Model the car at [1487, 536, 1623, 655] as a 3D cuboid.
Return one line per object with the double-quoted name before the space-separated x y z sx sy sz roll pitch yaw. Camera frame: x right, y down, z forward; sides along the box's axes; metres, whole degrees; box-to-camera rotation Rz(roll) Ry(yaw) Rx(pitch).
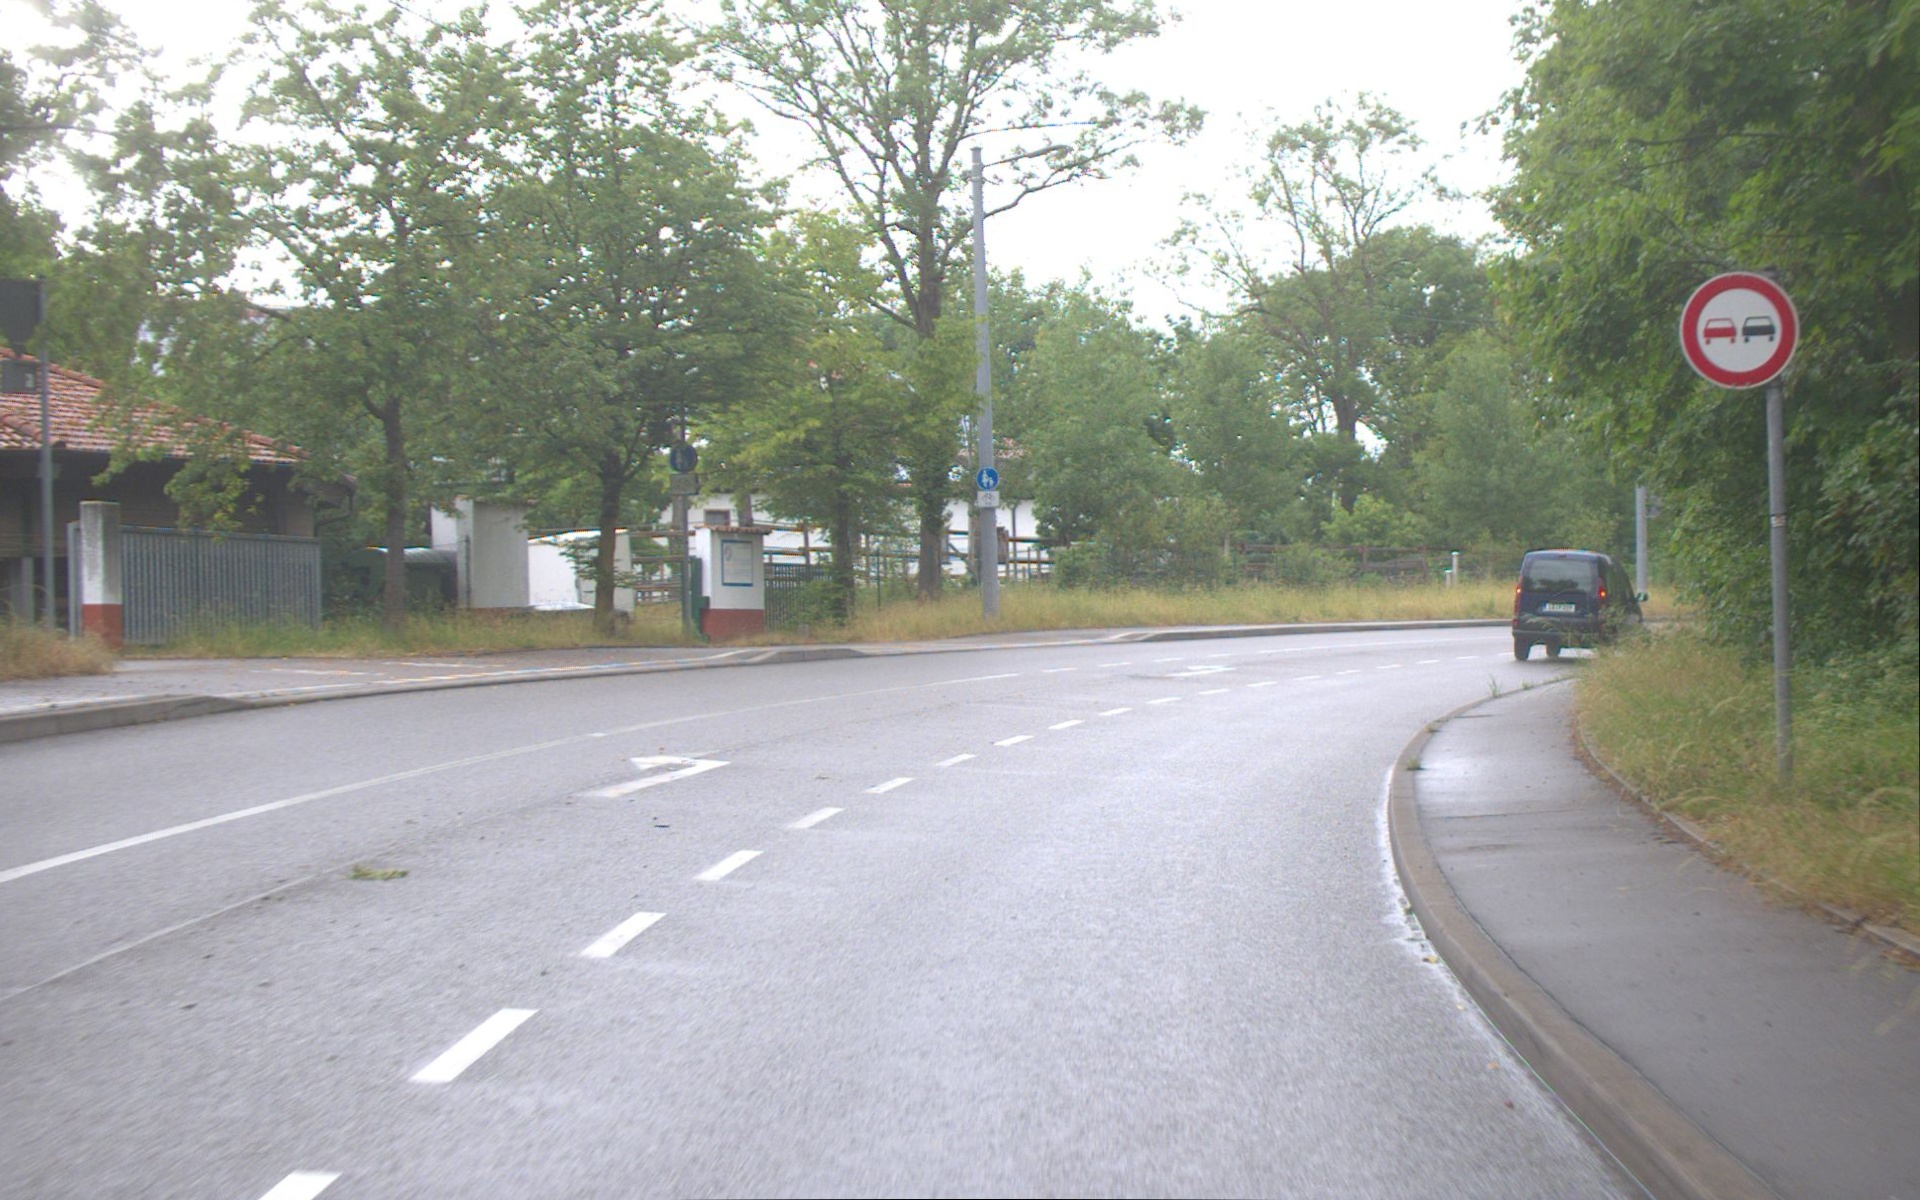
"car" 10.027 -0.065 57.777 1.828 1.788 3.997 -5 -1 14
